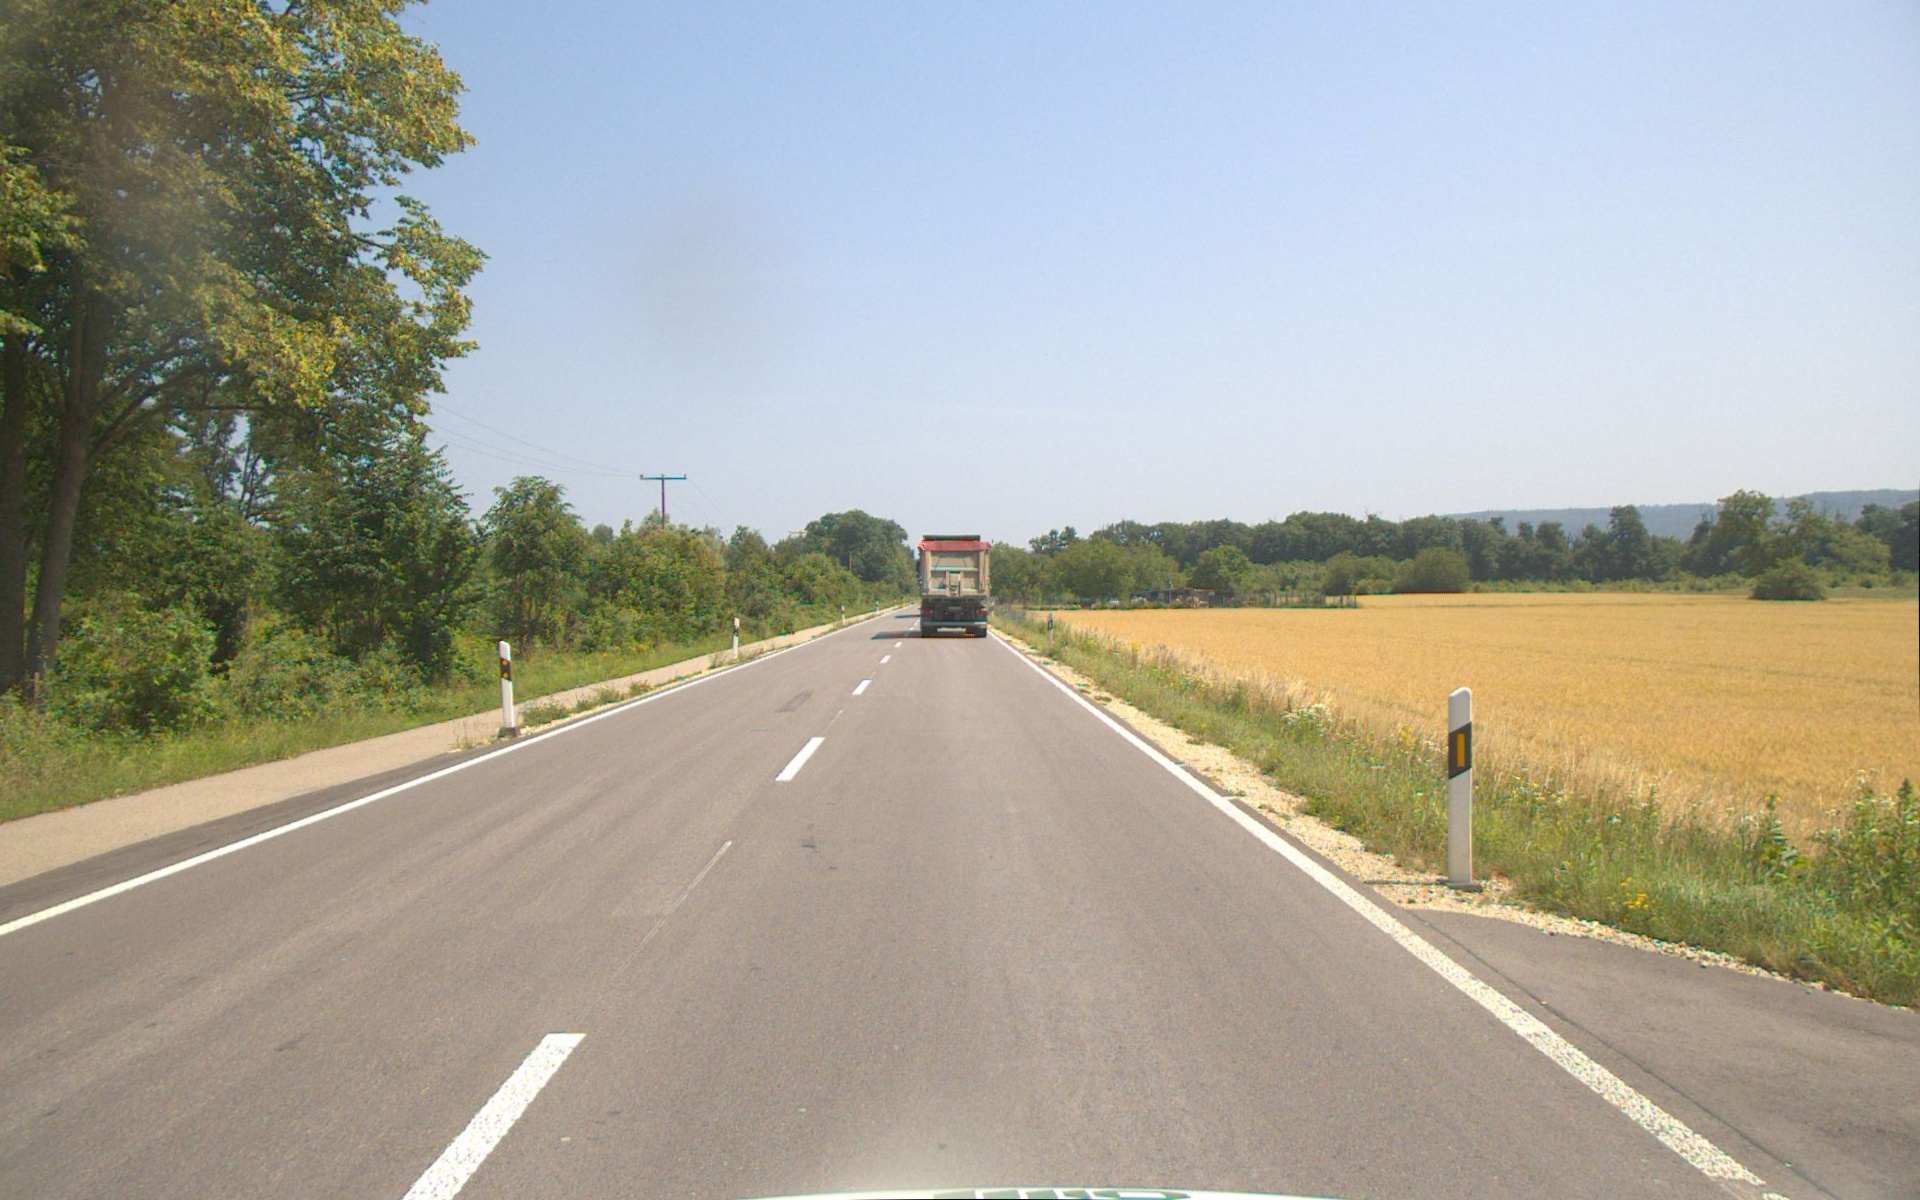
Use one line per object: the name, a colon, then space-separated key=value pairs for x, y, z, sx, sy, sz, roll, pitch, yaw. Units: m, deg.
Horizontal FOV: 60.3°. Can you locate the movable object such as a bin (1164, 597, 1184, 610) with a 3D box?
movable object such as a bin: x=24.123 y=0.405 z=186.693 sx=1.540 sy=1.522 sz=3.655 roll=0 pitch=0 yaw=-5

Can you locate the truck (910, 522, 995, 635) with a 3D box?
truck: x=-0.341 y=-0.722 z=64.749 sx=2.948 sy=3.942 sz=12.206 roll=1 pitch=0 yaw=-1
